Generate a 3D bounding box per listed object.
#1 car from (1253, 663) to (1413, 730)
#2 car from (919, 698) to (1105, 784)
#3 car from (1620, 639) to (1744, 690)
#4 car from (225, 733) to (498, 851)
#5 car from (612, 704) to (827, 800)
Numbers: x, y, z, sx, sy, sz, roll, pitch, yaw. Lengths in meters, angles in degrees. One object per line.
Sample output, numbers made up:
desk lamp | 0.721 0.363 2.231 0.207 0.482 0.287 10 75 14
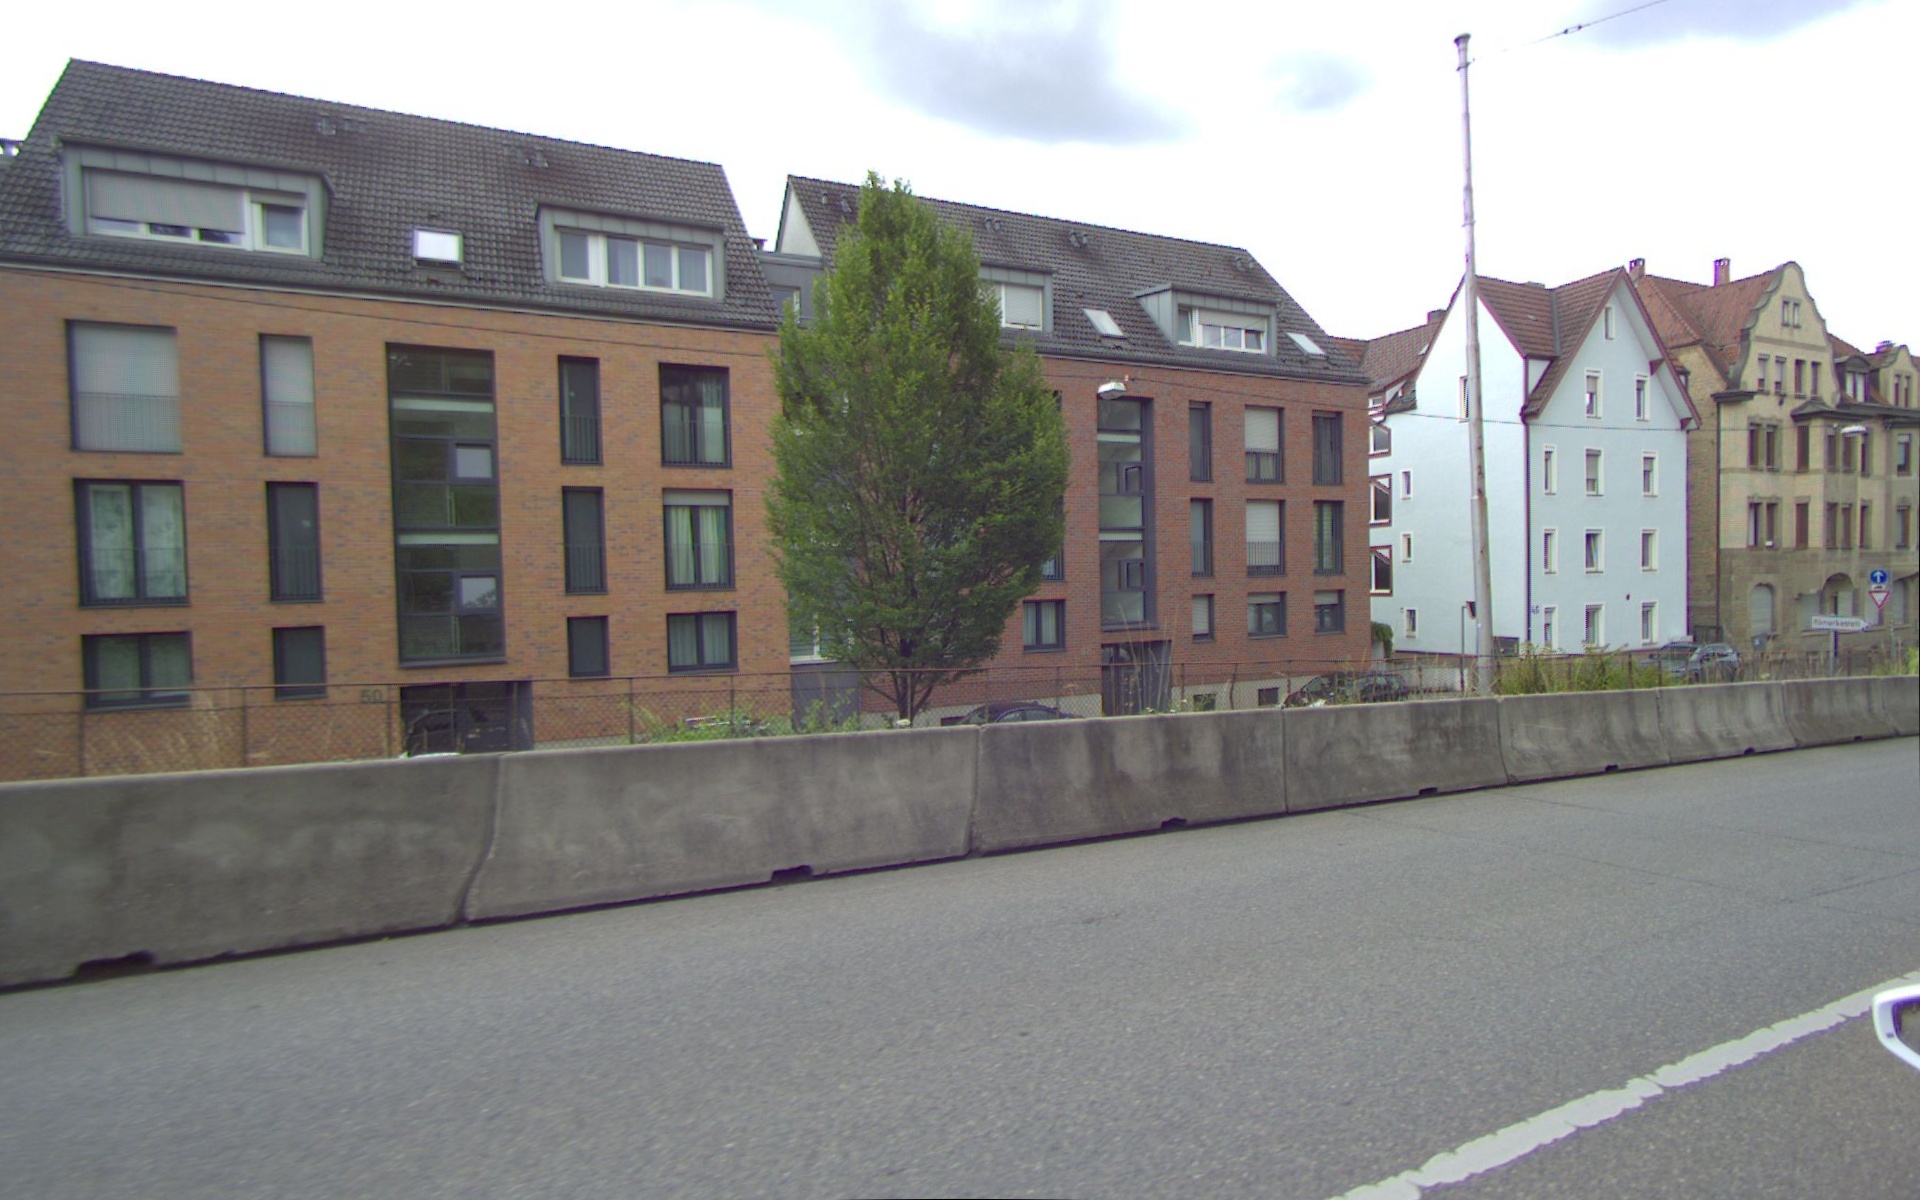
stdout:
car | 10.431 2.634 28.057 4.158 1.629 1.789 1 -2 -25
car | 1.214 3.198 23.302 3.946 1.629 1.789 1 -2 -25
car | 24.950 2.190 34.691 3.946 1.530 1.789 -1 0 -25
car | -10.335 3.292 17.722 3.946 1.530 1.789 1 -2 -25
car | -4.837 2.975 20.195 3.946 1.530 1.789 1 -2 -25
